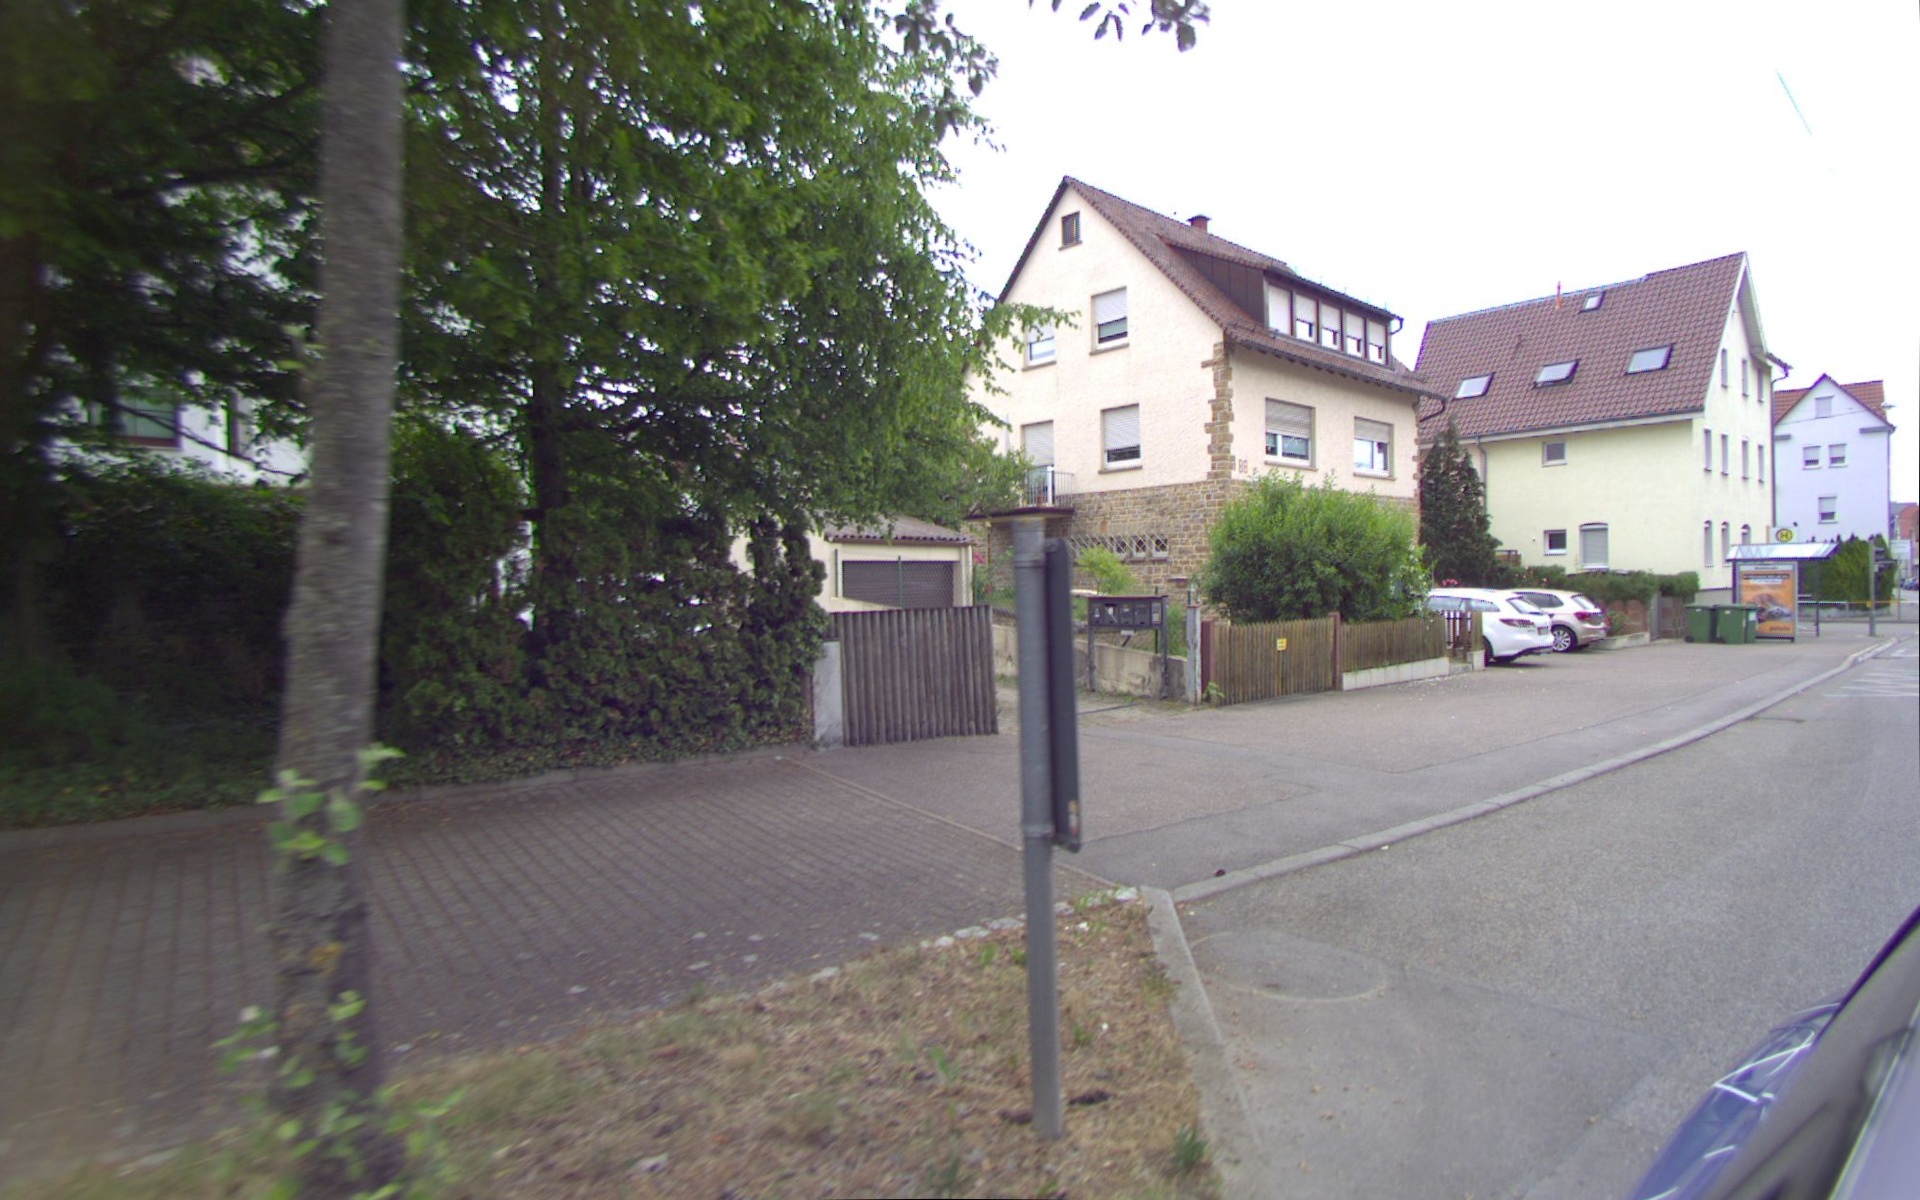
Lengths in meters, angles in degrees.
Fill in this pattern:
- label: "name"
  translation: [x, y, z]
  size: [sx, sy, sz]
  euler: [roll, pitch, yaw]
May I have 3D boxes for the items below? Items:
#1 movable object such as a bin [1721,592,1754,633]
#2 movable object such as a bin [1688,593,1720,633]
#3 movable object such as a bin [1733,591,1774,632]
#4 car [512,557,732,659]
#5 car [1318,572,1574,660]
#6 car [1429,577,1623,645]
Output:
- label: "movable object such as a bin"
  translation: [20.816, 0.331, 27.089]
  size: [0.636, 1.059, 0.577]
  euler: [-2, 0, 43]
- label: "movable object such as a bin"
  translation: [20.278, 0.338, 27.590]
  size: [0.636, 1.059, 0.577]
  euler: [0, 1, 43]
- label: "movable object such as a bin"
  translation: [21.477, 0.303, 27.396]
  size: [0.579, 1.059, 0.639]
  euler: [-2, 0, -15]
- label: "car"
  translation: [-5.942, 0.082, 17.572]
  size: [4.080, 1.410, 1.809]
  euler: [1, 7, 43]
- label: "car"
  translation: [9.913, 0.236, 20.957]
  size: [1.832, 1.506, 4.430]
  euler: [-3, 4, -40]
- label: "car"
  translation: [13.603, 0.208, 24.472]
  size: [1.614, 1.418, 3.806]
  euler: [-3, 4, -44]
